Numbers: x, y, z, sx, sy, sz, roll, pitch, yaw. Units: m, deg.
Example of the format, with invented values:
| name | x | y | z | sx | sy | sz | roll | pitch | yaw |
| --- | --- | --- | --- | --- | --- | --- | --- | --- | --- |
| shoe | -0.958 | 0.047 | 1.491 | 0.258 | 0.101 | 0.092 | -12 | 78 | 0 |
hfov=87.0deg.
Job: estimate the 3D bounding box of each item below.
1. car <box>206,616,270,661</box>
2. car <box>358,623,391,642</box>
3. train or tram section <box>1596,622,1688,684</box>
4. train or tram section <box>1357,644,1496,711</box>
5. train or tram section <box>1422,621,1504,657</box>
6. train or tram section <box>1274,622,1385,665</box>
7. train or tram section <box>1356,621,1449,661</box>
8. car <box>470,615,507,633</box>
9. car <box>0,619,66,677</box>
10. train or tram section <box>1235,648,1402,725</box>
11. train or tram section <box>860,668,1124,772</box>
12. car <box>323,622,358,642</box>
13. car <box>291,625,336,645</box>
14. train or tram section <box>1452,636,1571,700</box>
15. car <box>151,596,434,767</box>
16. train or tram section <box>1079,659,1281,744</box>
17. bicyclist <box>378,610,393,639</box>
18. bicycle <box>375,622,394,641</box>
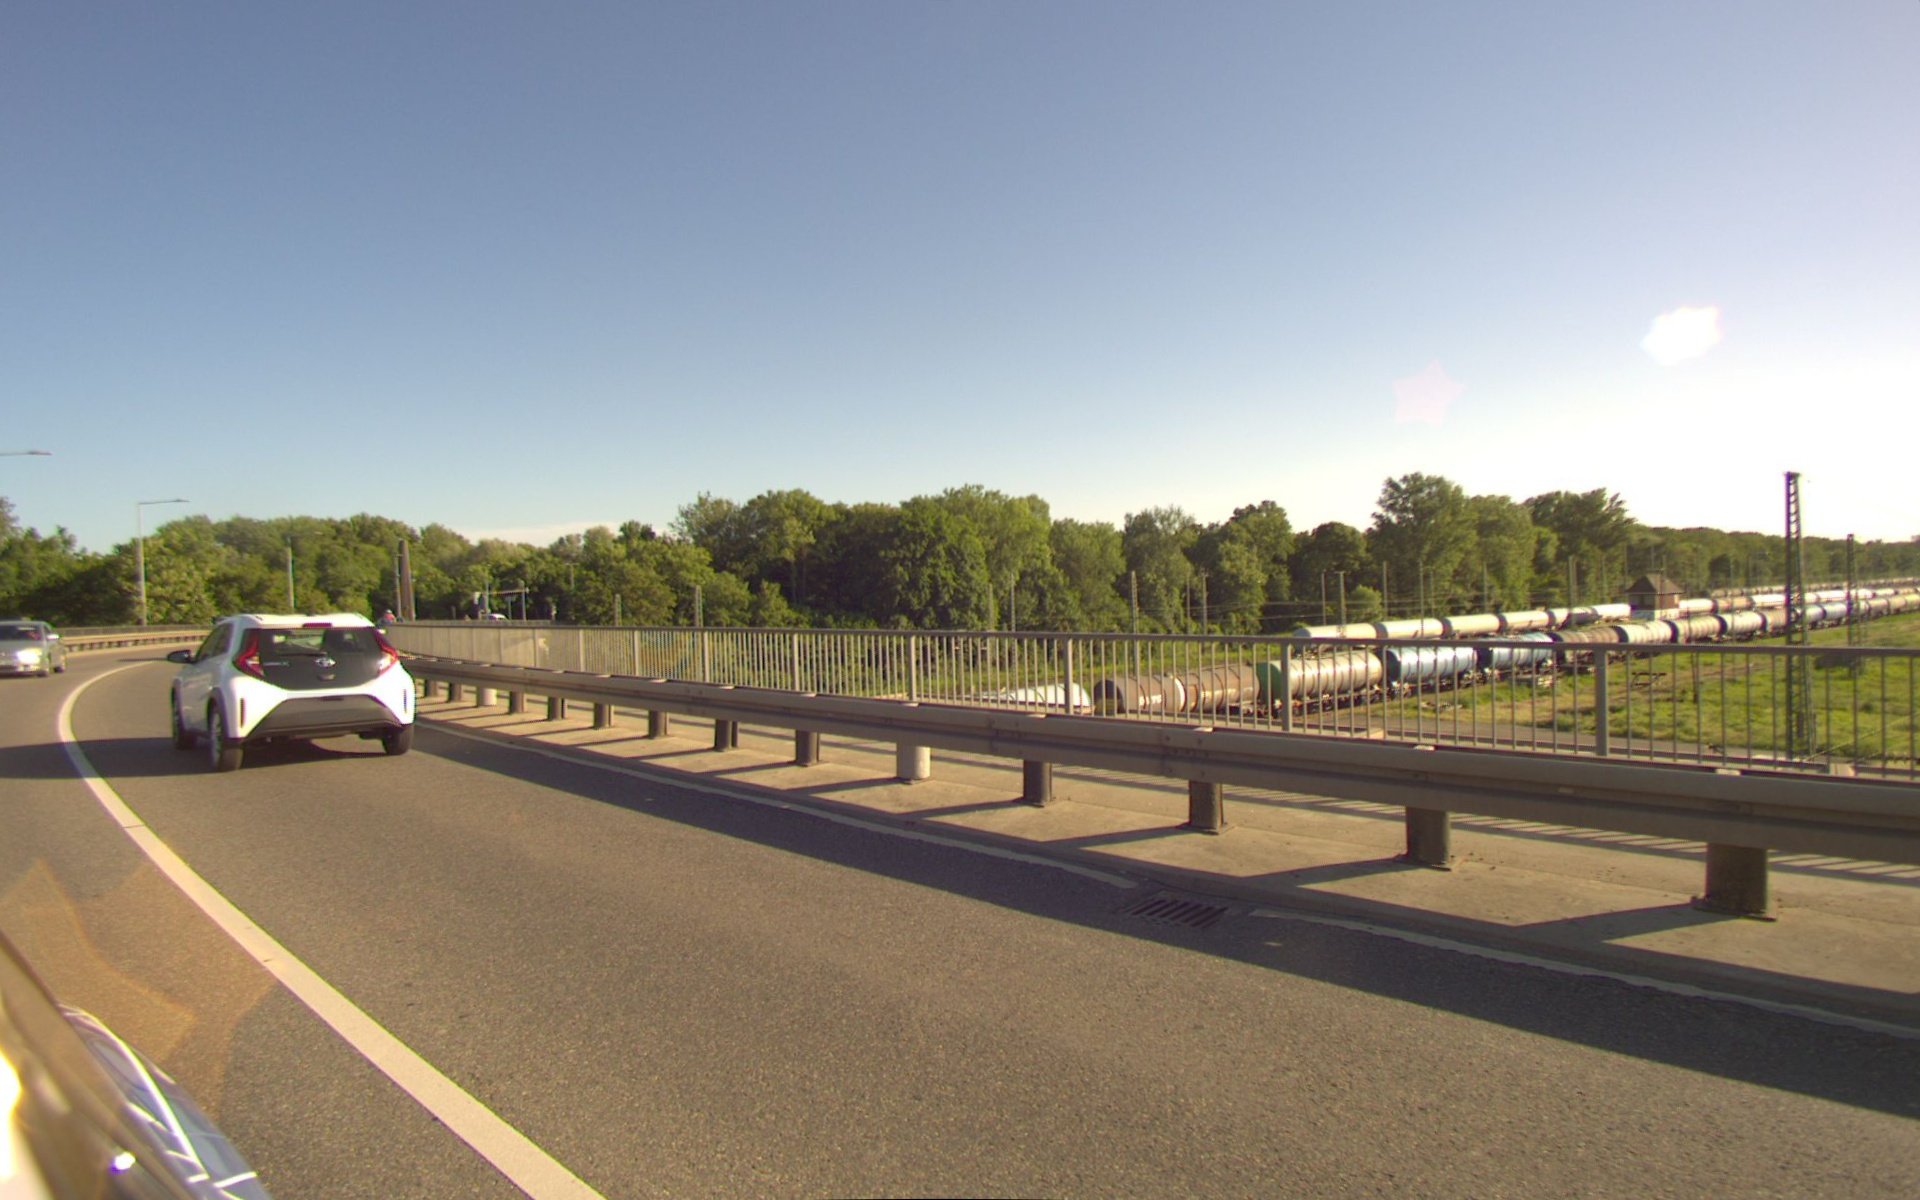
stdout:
| name | x | y | z | sx | sy | sz | roll | pitch | yaw |
| --- | --- | --- | --- | --- | --- | --- | --- | --- | --- |
| car | -27.715 | 1.431 | 38.792 | 1.825 | 1.635 | 4.110 | 1 | -1 | -38 |
| car | -52.490 | 2.926 | 90.771 | 1.890 | 1.630 | 3.754 | 0 | -1 | -18 |
| train or tram section | 79.996 | 6.007 | 118.511 | 16.238 | 6.661 | 3.914 | 1 | -1 | -38 |
| train or tram section | 40.863 | 6.523 | 88.173 | 16.102 | 5.055 | 3.914 | 1 | -1 | -38 |
| train or tram section | 76.126 | 5.733 | 152.888 | 17.582 | 5.125 | 4.056 | 1 | -1 | -39 |
| train or tram section | 47.828 | 5.463 | 130.275 | 19.043 | 5.125 | 4.056 | 1 | -1 | -39 |
| train or tram section | 62.225 | 5.602 | 141.840 | 17.896 | 5.125 | 4.056 | 1 | -1 | -39 |
| car | -75.129 | 3.833 | 161.269 | 5.671 | 2.518 | 2.098 | -3 | -2 | 24 |
| car | -25.077 | 1.226 | 26.721 | 1.736 | 1.447 | 4.340 | 1 | -1 | -36 |
| train or tram section | 27.975 | 6.441 | 78.221 | 16.397 | 5.055 | 3.914 | 1 | -1 | -38 |
| train or tram section | 2.306 | 6.553 | 58.351 | 16.497 | 4.626 | 3.914 | 1 | -1 | -38 |
| car | -42.506 | 2.168 | 69.470 | 1.720 | 1.365 | 4.195 | 0 | -1 | -27 |
| car | -52.079 | 2.793 | 81.594 | 1.961 | 1.484 | 4.141 | 0 | -1 | -16 |
| train or tram section | 53.666 | 6.399 | 98.075 | 16.238 | 5.561 | 3.914 | 1 | -1 | -38 |
| car | -7.387 | 0.772 | 11.059 | 3.771 | 1.530 | 1.816 | -1 | -2 | 44 |
| train or tram section | 15.155 | 6.575 | 68.309 | 16.048 | 4.626 | 3.914 | 1 | -1 | -38 |
| bicyclist | -32.532 | 1.400 | 57.320 | 0.644 | 1.601 | 0.770 | 0 | -1 | -21 |
| bicycle | -32.497 | 1.784 | 57.178 | 0.644 | 1.073 | 1.896 | 0 | -1 | -21 |
